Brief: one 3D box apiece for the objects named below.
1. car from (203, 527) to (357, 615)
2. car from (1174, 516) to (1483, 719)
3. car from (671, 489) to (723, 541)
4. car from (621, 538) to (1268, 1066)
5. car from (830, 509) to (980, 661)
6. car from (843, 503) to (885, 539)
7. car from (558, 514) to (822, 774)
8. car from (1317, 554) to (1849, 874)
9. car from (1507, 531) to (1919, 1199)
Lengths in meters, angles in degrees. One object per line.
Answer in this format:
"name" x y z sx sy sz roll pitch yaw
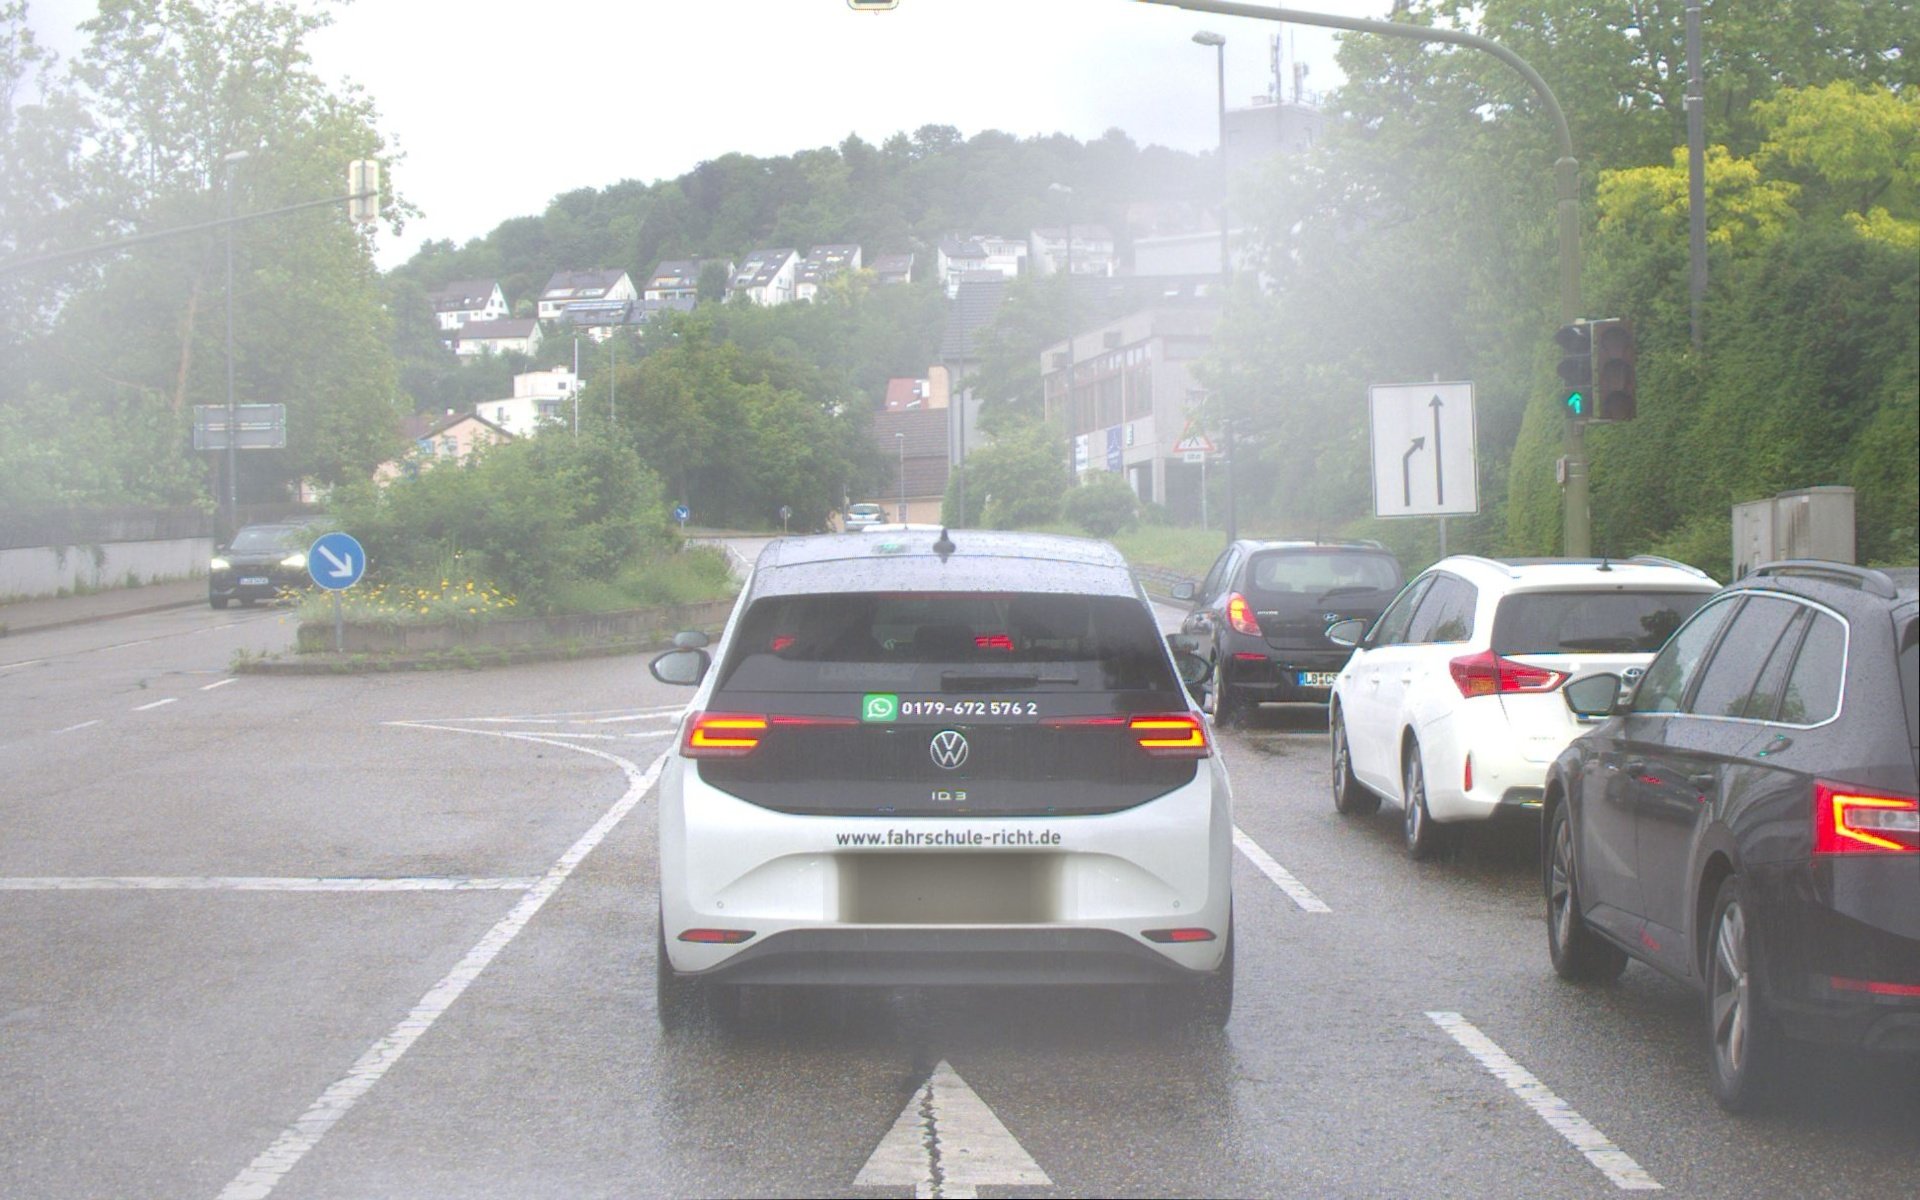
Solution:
"car" -12.399 -0.538 62.901 1.950 1.473 4.296 -3 1 -1
"car" 2.903 0.107 27.853 1.993 1.448 3.771 -3 1 -1
"car" -10.694 -3.453 140.109 1.993 2.007 4.000 1 1 -3
"car" -0.068 0.545 11.826 1.828 1.495 4.169 0 1 -1
"car" -0.762 -0.231 48.085 1.993 2.007 4.000 1 1 -1
"car" -4.180 -3.422 149.373 1.737 1.459 4.000 1 1 -3
"car" -1.730 0.212 22.626 1.567 1.524 4.001 0 2 -3
"car" 2.975 0.477 17.331 1.848 1.405 4.302 0 1 -1
"car" 2.851 0.602 10.039 1.954 1.502 4.608 2 1 3
